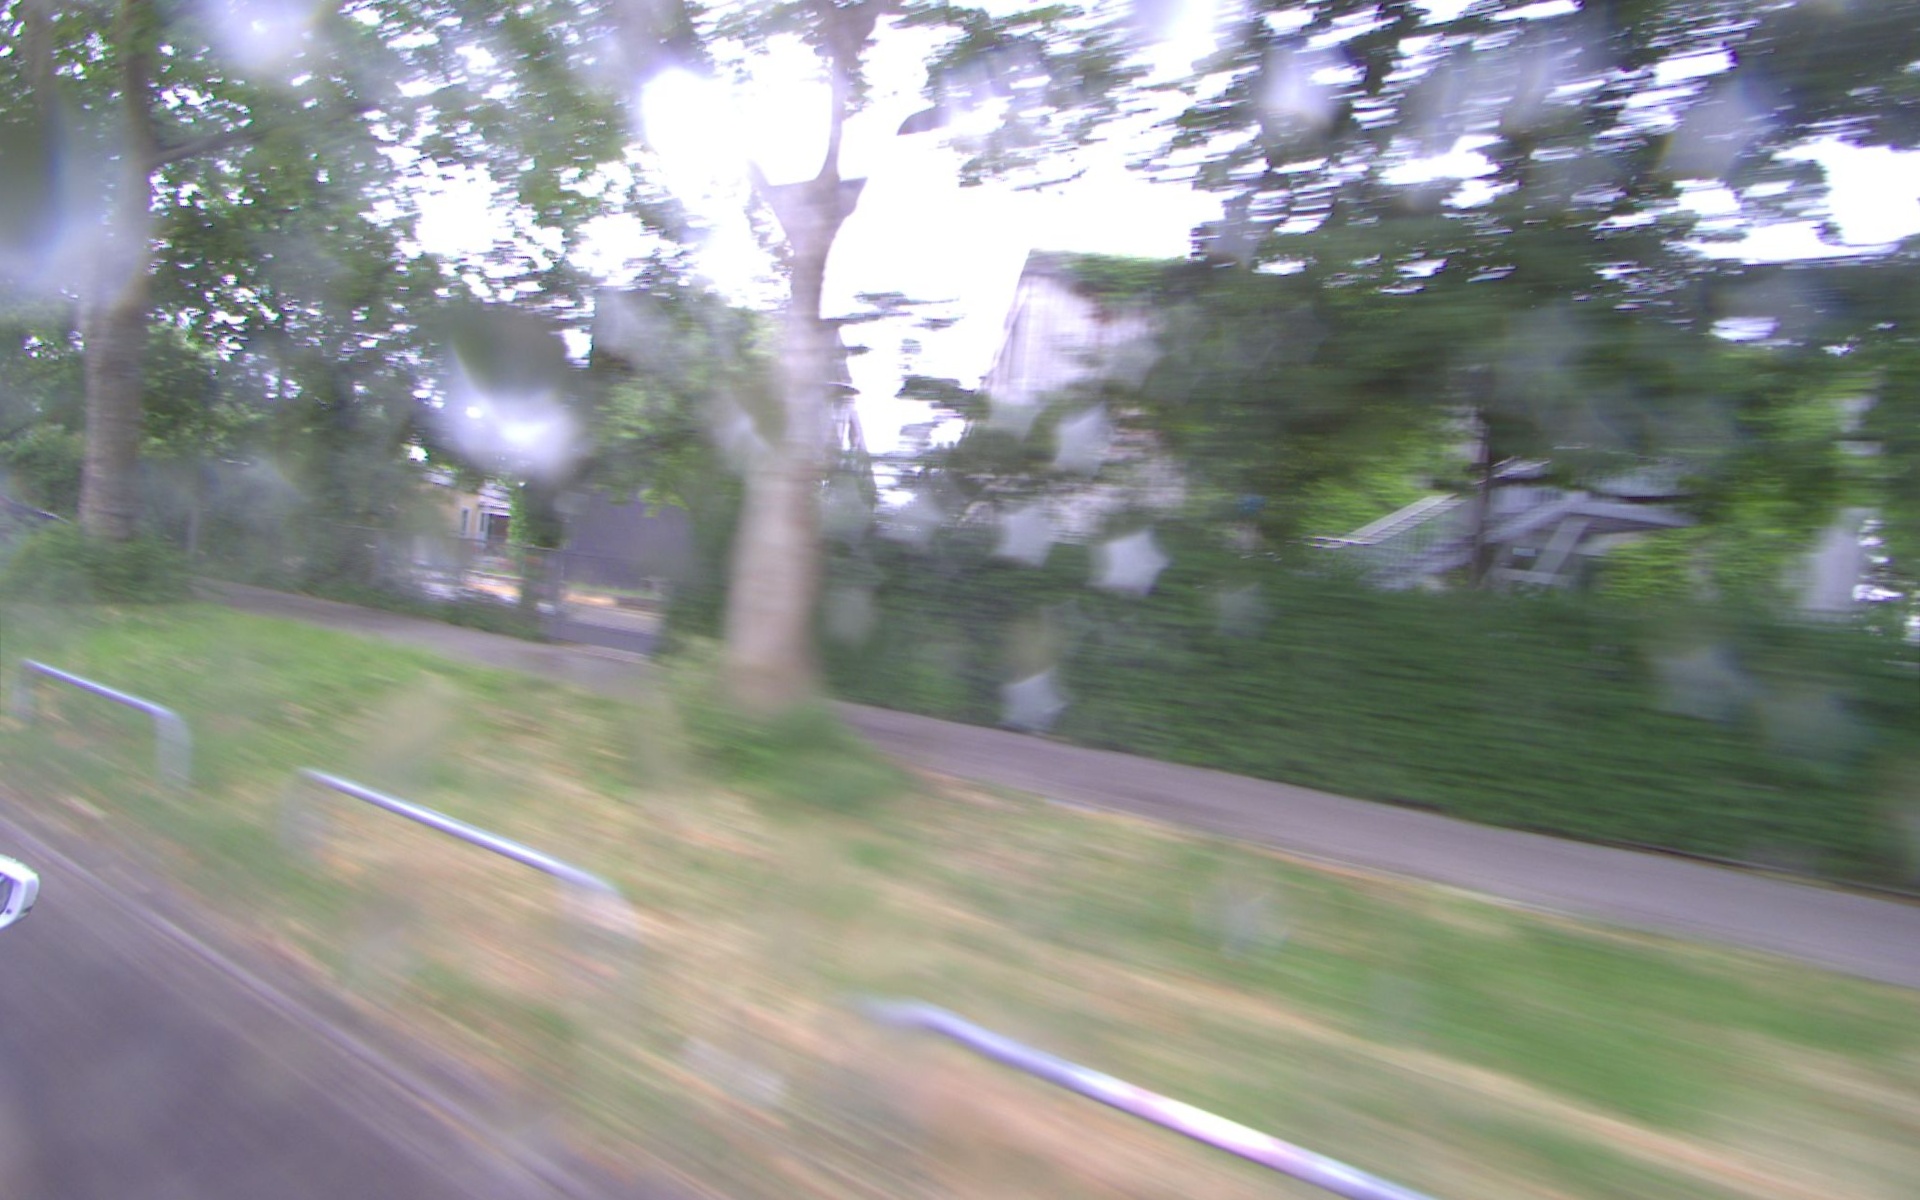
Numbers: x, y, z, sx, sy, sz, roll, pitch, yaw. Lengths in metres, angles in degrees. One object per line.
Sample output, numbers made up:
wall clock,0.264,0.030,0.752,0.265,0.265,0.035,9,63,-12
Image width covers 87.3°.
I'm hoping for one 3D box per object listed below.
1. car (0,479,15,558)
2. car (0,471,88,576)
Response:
car,-18.201,-1.522,16.482,1.711,1.436,4.058,5,1,-4
car,-15.318,-1.253,14.554,1.847,1.552,3.803,7,1,4
